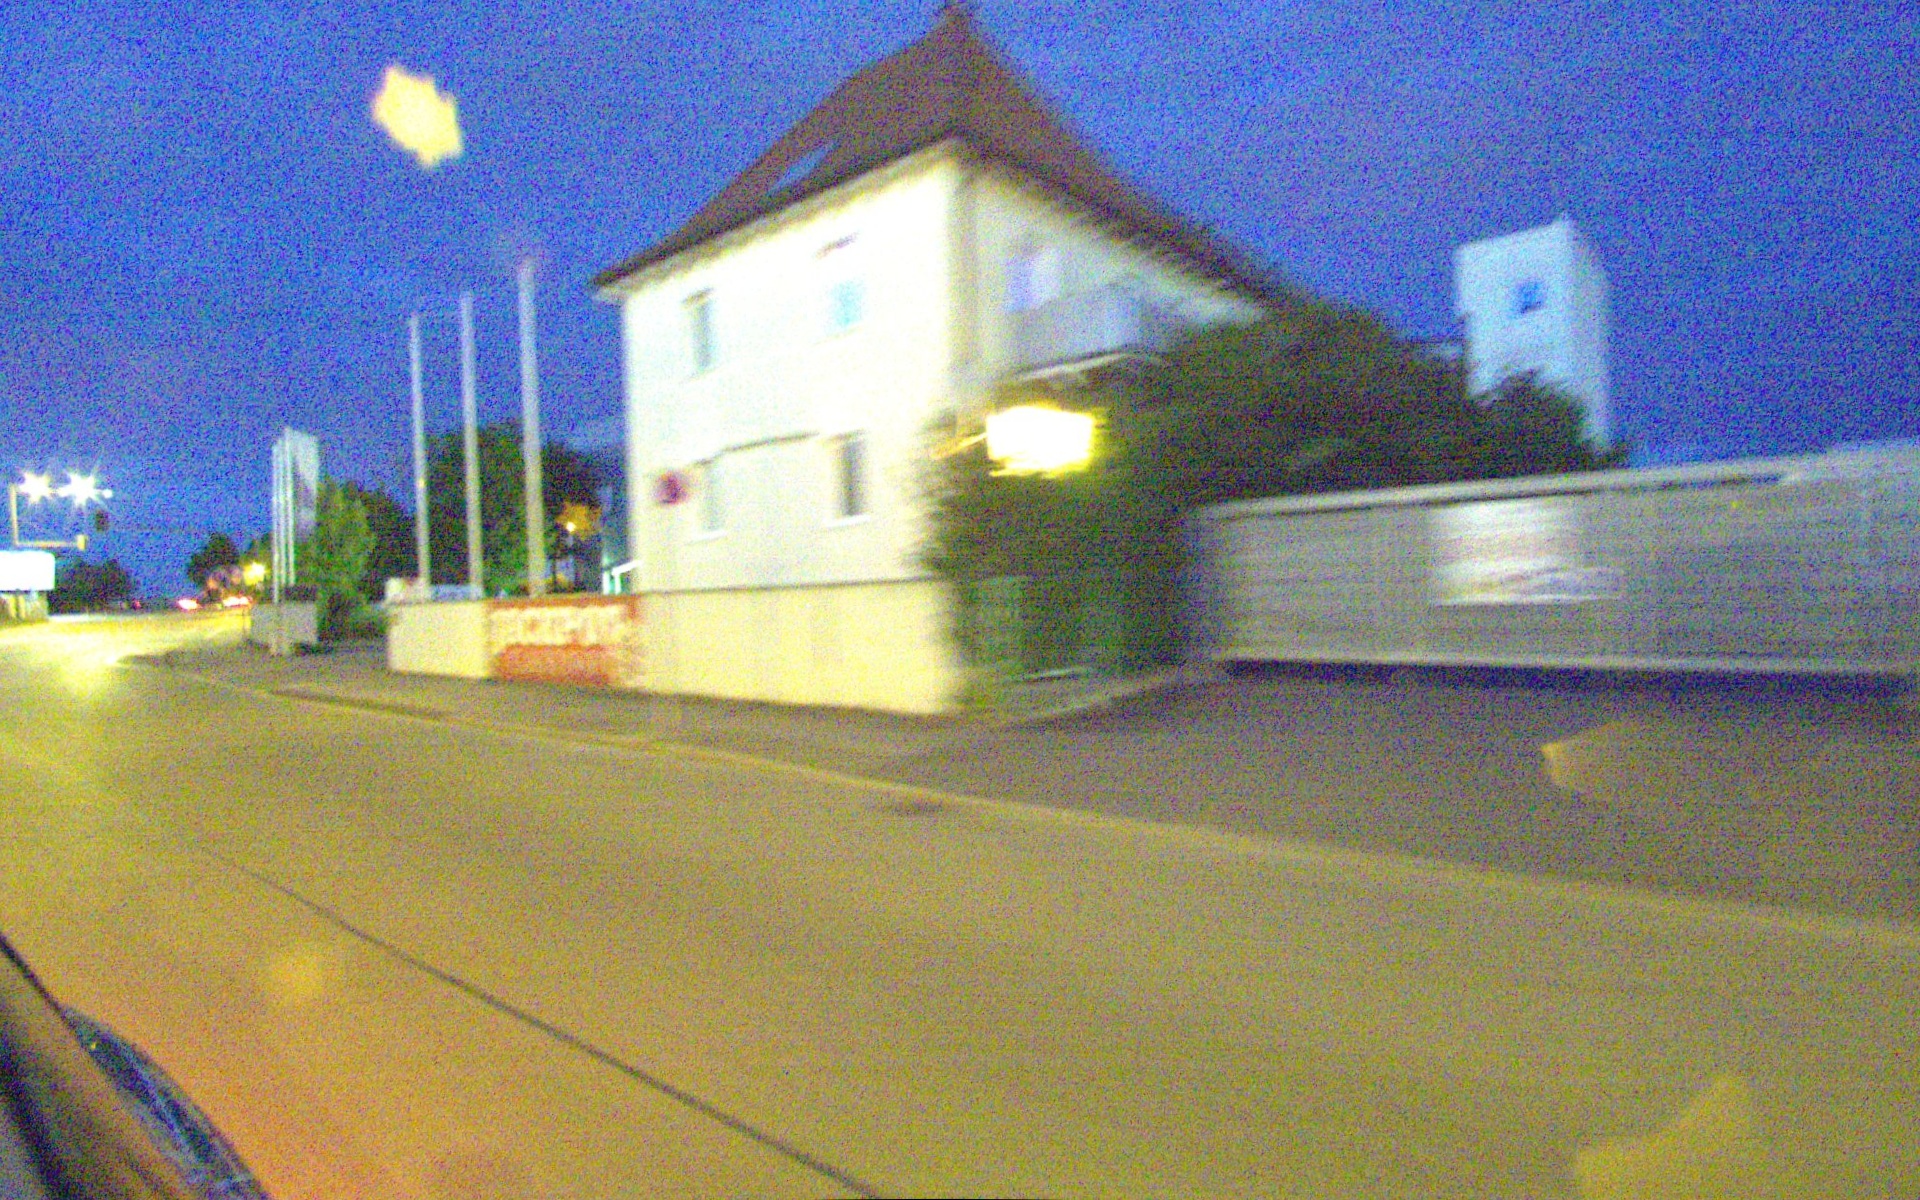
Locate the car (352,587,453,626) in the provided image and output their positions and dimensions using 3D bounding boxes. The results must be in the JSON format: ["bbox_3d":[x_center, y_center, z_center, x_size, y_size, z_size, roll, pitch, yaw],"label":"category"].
[{"bbox_3d":[-27.992,0.282,50.889,4.077,1.785,2.002,-2,2,-42],"label":"car"}]

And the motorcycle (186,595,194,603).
[{"bbox_3d":[-127.989,-0.157,168.176,0.985,1.314,2.832,-2,2,-39],"label":"motorcycle"}]

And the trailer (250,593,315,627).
[{"bbox_3d":[-55.778,0.837,83.371,4.290,2.741,2.005,1,-1,-34],"label":"trailer"}]

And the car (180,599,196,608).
[{"bbox_3d":[-141.418,0.613,185.463,1.967,1.639,4.765,-2,2,-34],"label":"car"}]

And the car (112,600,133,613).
[{"bbox_3d":[-104.160,0.797,125.903,1.910,1.563,4.007,-3,2,-40],"label":"car"}]

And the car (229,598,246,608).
[{"bbox_3d":[-104.478,0.406,146.288,1.825,1.456,4.927,-2,1,-37],"label":"car"}]

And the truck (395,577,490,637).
[{"bbox_3d":[-18.332,0.215,35.703,1.968,1.914,5.327,-2,1,-38],"label":"truck"}]

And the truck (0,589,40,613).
[{"bbox_3d":[-94.016,0.071,100.914,2.346,2.301,7.764,-2,2,-35],"label":"truck"}]

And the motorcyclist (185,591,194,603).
[{"bbox_3d":[-127.792,-0.560,167.931,1.120,1.914,0.835,-2,2,-40],"label":"motorcyclist"}]
